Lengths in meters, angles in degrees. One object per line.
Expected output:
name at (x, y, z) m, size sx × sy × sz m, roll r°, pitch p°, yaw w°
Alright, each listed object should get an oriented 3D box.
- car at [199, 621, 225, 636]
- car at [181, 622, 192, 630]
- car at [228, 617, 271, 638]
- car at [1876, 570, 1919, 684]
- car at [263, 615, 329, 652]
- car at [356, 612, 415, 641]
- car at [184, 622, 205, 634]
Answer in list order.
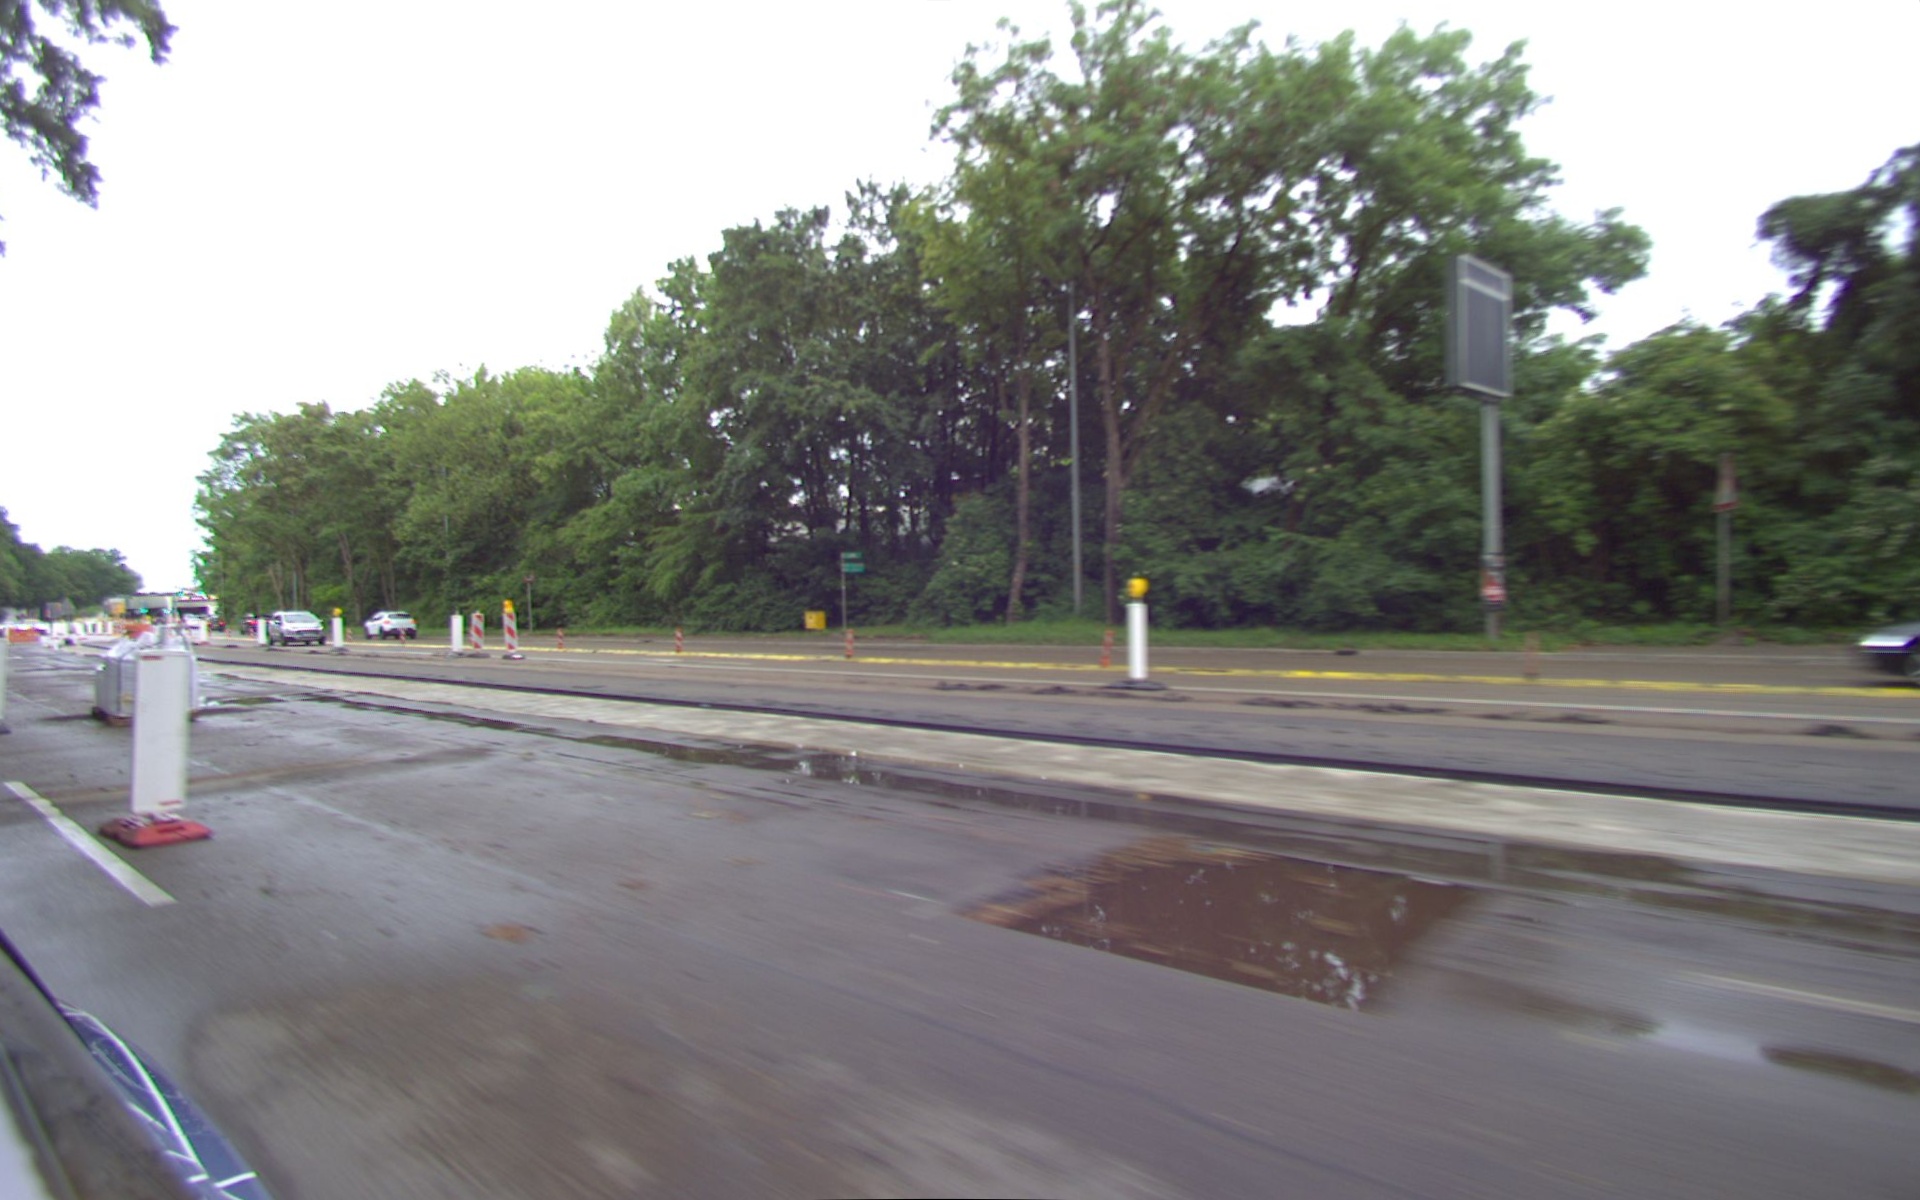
car at (-74.586, 2.826, 100.944) m, size 1.762 × 1.463 × 4.689 m, roll -1°, pitch -1°, yaw -40°
car at (-158.196, 5.398, 206.980) m, size 1.653 × 1.626 × 3.777 m, roll 1°, pitch -2°, yaw -37°
car at (-58.541, 2.258, 83.360) m, size 4.913 × 1.676 × 1.758 m, roll -2°, pitch -2°, yaw 41°
car at (13.472, 0.283, 11.523) m, size 4.386 × 1.366 × 1.799 m, roll -2°, pitch -1°, yaw 40°
car at (-31.210, 1.561, 47.512) m, size 3.862 × 1.596 × 1.769 m, roll -1°, pitch 0°, yaw 44°
car at (-32.265, 1.490, 56.816) m, size 4.156 × 1.553 × 1.648 m, roll -2°, pitch -3°, yaw 42°
car at (-94.634, 3.406, 125.086) m, size 1.762 × 1.437 × 4.476 m, roll -1°, pitch -1°, yaw -40°
